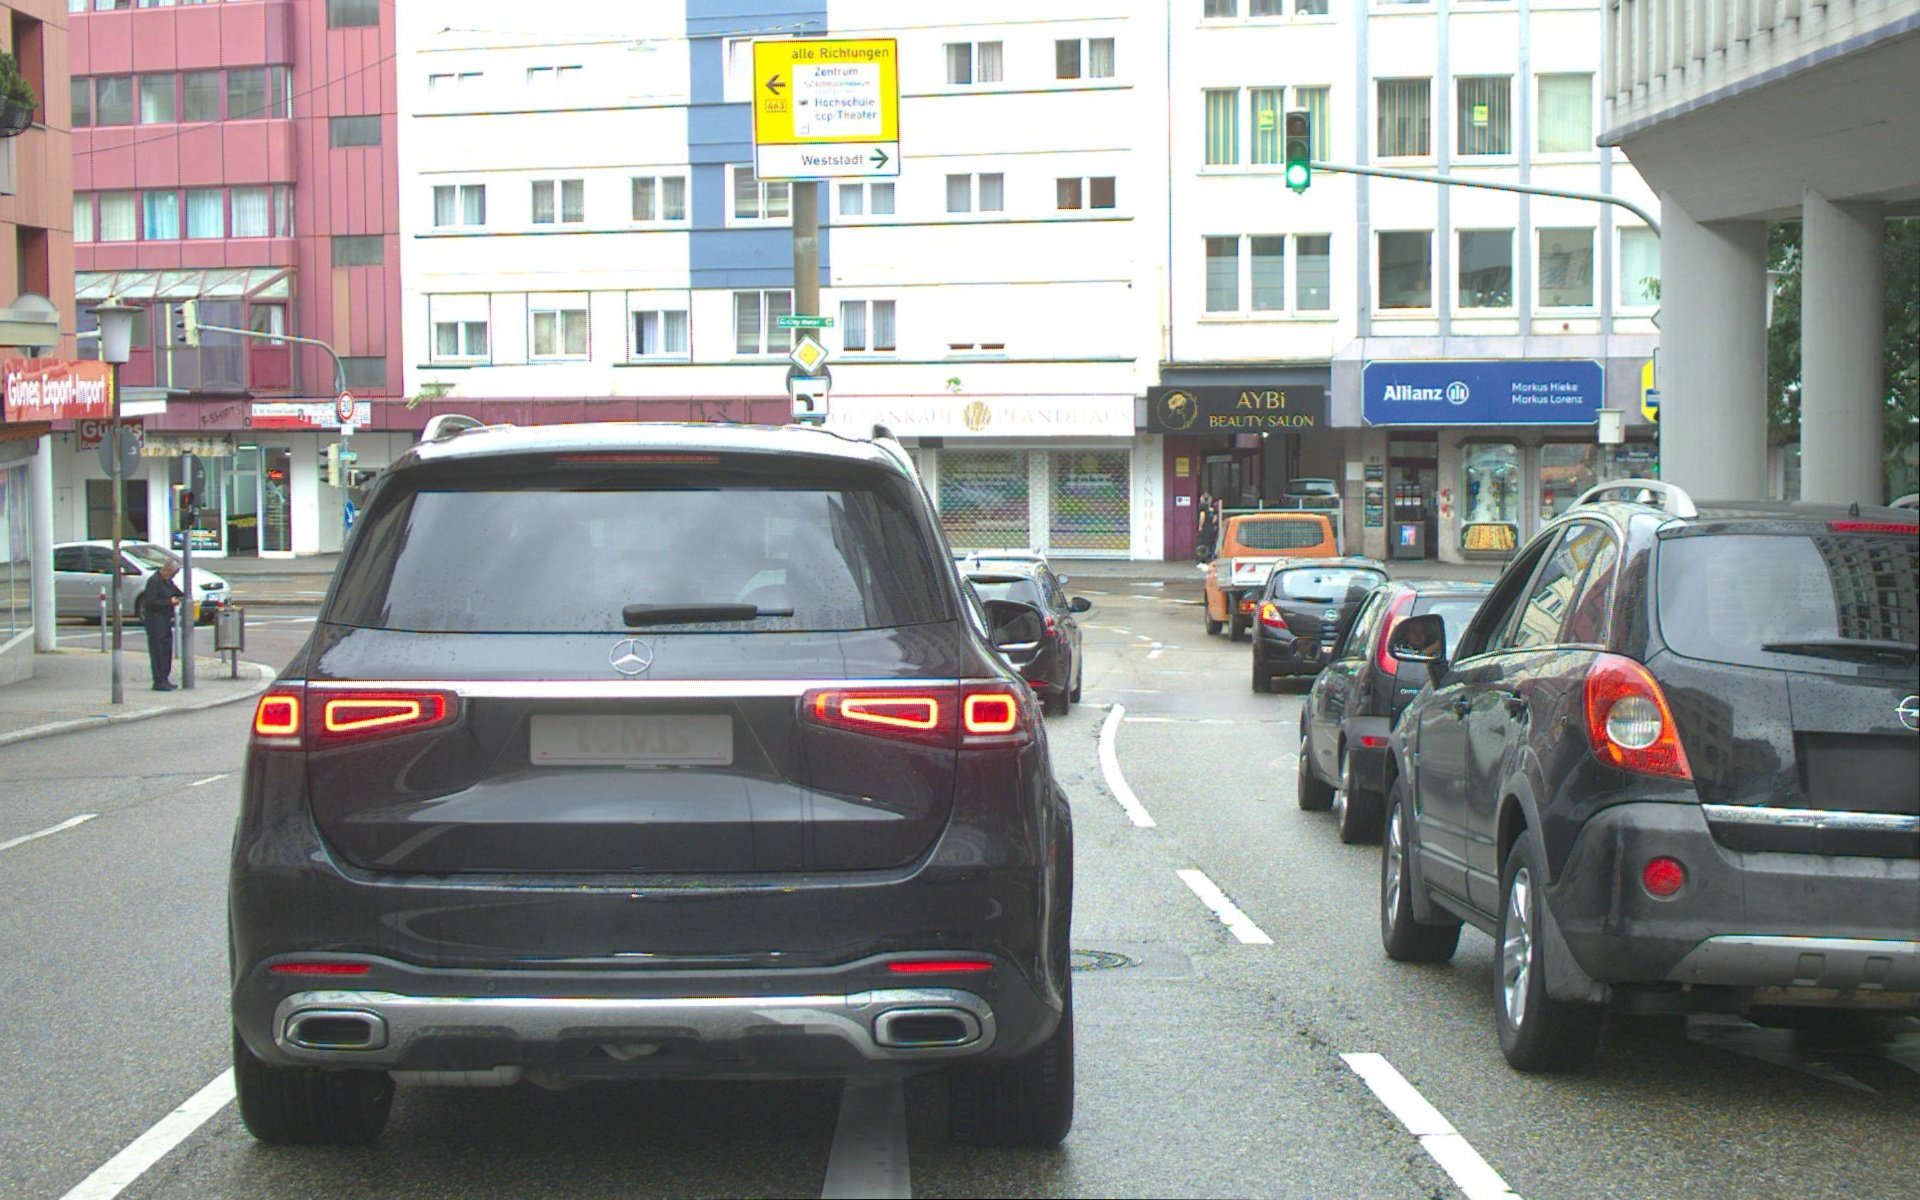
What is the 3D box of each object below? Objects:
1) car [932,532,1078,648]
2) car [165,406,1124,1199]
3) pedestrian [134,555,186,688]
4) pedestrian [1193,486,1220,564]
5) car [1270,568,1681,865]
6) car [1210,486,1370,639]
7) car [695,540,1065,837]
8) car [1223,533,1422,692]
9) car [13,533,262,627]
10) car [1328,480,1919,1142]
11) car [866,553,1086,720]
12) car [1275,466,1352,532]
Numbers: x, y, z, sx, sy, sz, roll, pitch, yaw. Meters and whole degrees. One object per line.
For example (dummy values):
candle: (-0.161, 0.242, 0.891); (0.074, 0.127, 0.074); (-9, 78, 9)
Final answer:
car: (0.586, -0.113, 48.806); (1.924, 1.510, 4.663); (2, 0, -1)
car: (-0.759, 0.449, 9.728); (2.038, 1.793, 4.663); (1, 1, -2)
pedestrian: (-10.337, 0.269, 44.429); (0.554, 1.691, 0.624); (0, 1, -4)
pedestrian: (5.565, -1.701, 77.539); (0.564, 1.683, 0.756); (-1, 7, 6)
car: (2.829, 0.580, 19.679); (1.767, 1.392, 4.000); (3, 1, 1)
car: (5.060, -0.592, 53.423); (2.243, 2.220, 5.428); (1, 1, 3)
car: (-0.486, 0.417, 19.780); (1.873, 1.489, 4.401); (1, 1, -2)
car: (4.026, 0.126, 38.800); (1.823, 1.653, 4.495); (1, 0, 1)
car: (-15.426, -0.394, 64.544); (4.163, 1.587, 1.740); (2, 1, 10)
car: (2.485, 0.534, 11.237); (1.897, 1.689, 4.506); (3, 1, -1)
car: (0.129, 0.307, 33.626); (1.993, 1.481, 4.237); (-1, 1, 0)
car: (9.234, -2.612, 89.537); (1.797, 1.664, 3.999); (-1, 1, 8)
